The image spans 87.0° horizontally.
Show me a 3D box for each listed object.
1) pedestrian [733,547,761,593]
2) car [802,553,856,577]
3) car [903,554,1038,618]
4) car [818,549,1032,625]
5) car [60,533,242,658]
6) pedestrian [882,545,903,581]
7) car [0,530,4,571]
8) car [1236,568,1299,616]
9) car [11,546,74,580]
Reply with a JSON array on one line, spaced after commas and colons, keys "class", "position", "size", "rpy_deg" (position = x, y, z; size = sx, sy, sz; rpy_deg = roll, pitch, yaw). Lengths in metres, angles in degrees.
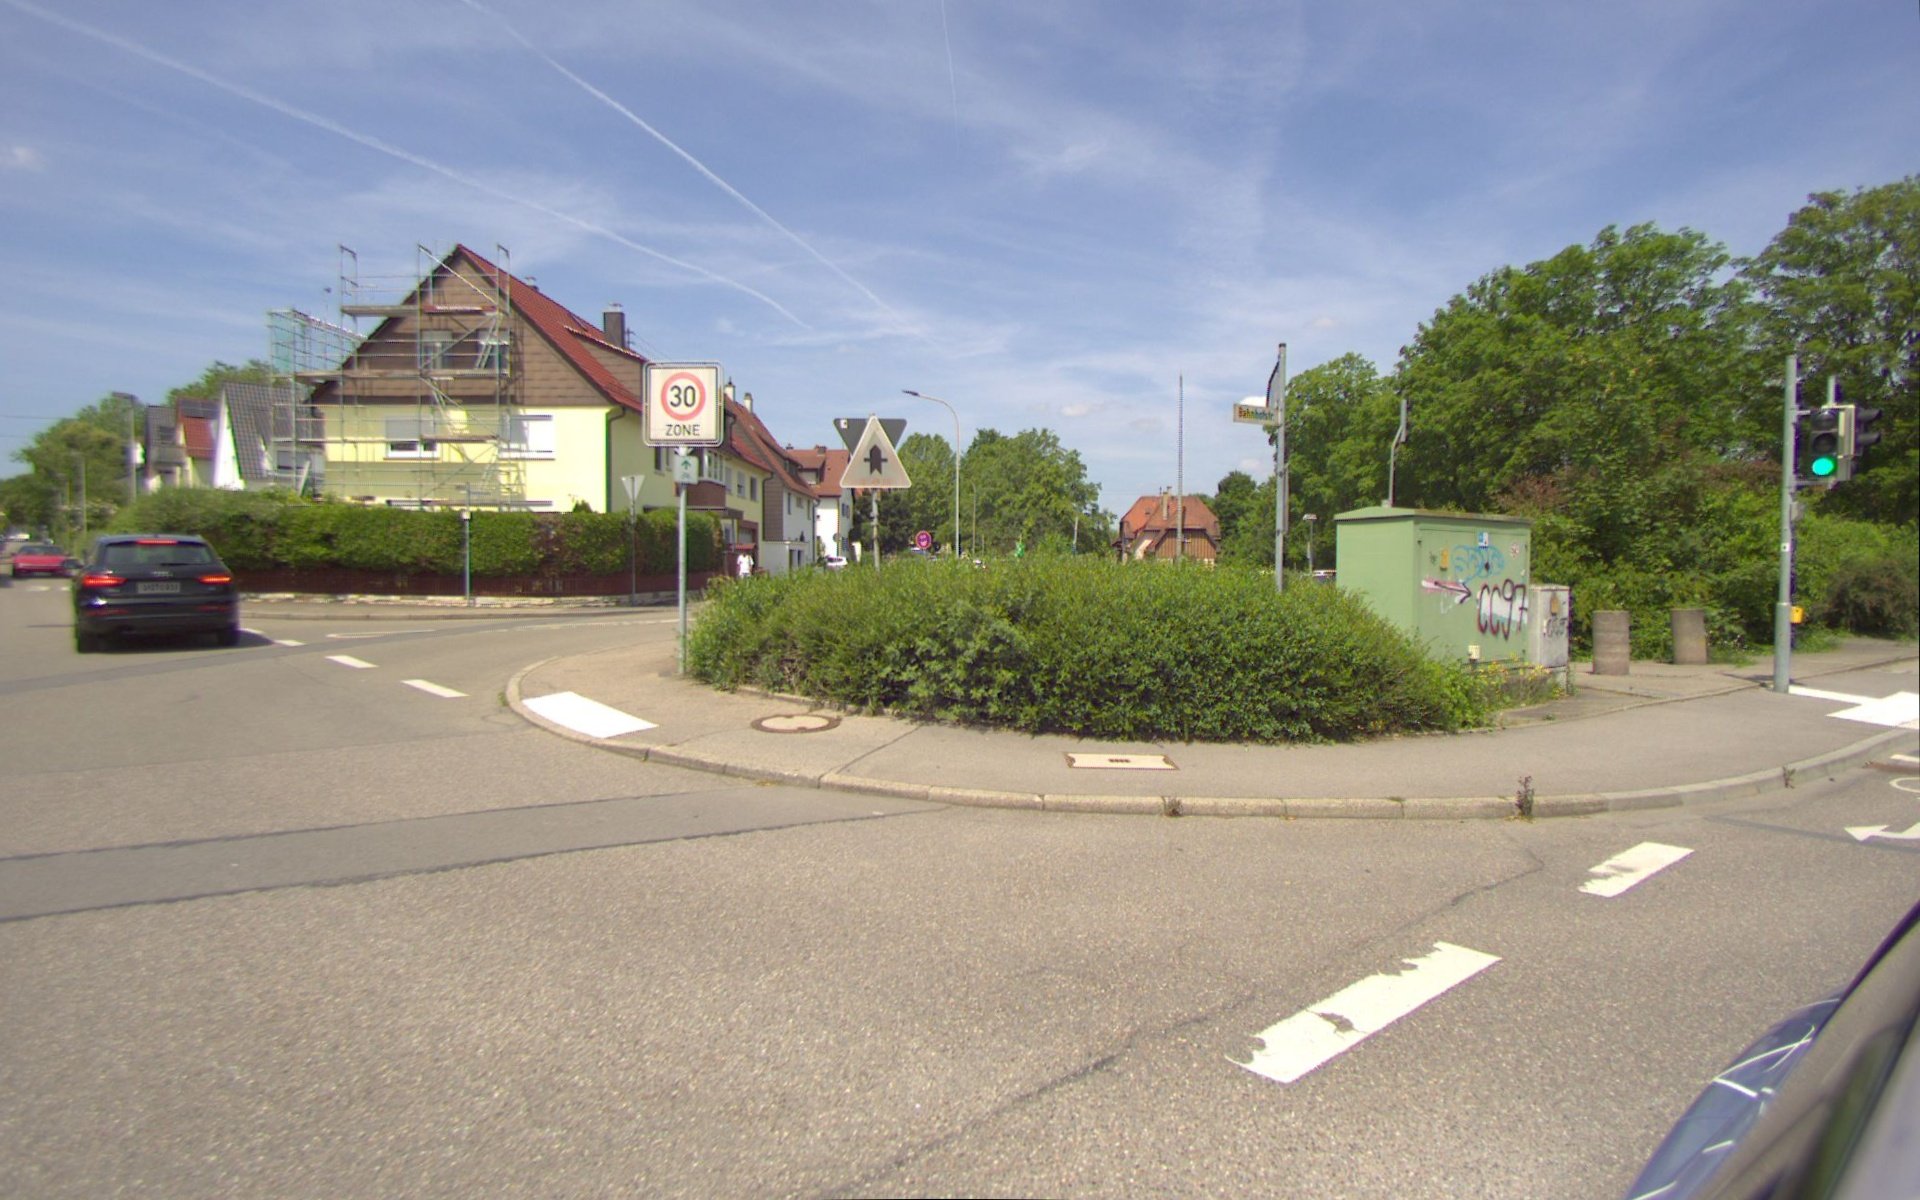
[{"class": "pedestrian", "position": [-7.764, -1.093, 36.937], "size": [0.766, 1.625, 0.799], "rpy_deg": [1, 1, 6]}, {"class": "car", "position": [-10.214, -2.735, 79.138], "size": [3.923, 1.799, 2.001], "rpy_deg": [1, 2, -1]}, {"class": "car", "position": [0.307, -0.379, 26.147], "size": [3.372, 1.503, 1.416], "rpy_deg": [2, 2, 5]}, {"class": "car", "position": [-0.694, -0.287, 20.861], "size": [4.216, 1.416, 1.397], "rpy_deg": [1, 2, 10]}, {"class": "car", "position": [-11.888, -0.164, 14.776], "size": [1.745, 1.574, 3.904], "rpy_deg": [-3, 4, -43]}, {"class": "pedestrian", "position": [-3.860, -2.106, 58.221], "size": [1.084, 2.038, 1.009], "rpy_deg": [1, 1, 2]}, {"class": "car", "position": [-50.997, -2.583, 52.337], "size": [1.964, 2.129, 3.997], "rpy_deg": [0, 2, -39]}, {"class": "car", "position": [11.111, -0.317, 36.724], "size": [1.580, 1.638, 3.729], "rpy_deg": [1, 1, 8]}, {"class": "car", "position": [-36.288, -1.475, 40.082], "size": [1.641, 1.294, 3.800], "rpy_deg": [0, 2, -39]}]
